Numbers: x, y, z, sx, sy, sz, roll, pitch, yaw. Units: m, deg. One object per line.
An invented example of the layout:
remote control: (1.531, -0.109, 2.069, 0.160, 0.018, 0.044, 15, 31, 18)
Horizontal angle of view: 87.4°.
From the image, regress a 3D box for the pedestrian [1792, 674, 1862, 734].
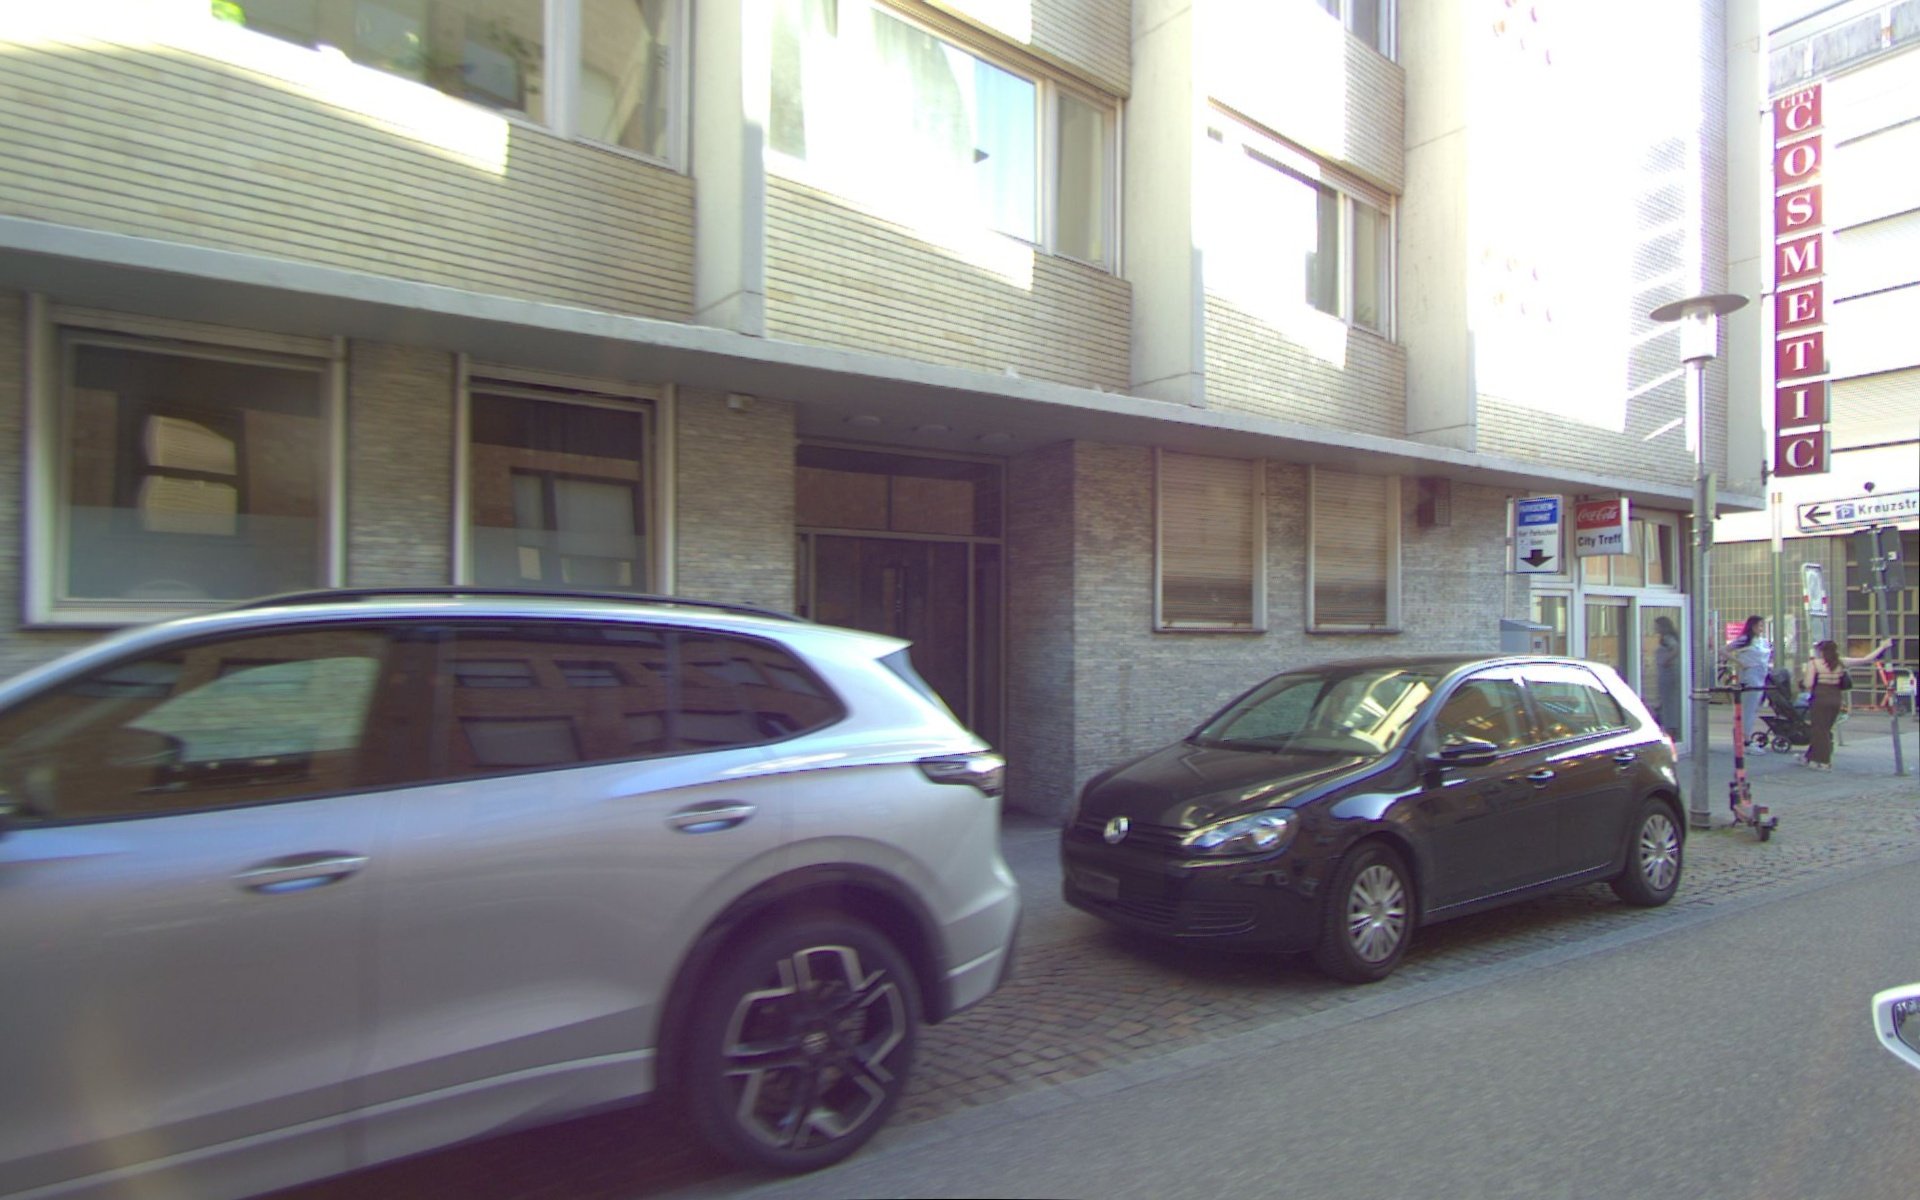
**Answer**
pedestrian: (11.417, 1.360, 13.242, 0.574, 0.724, 0.645, 0, -1, 30)

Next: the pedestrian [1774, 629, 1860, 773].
pedestrian: (10.105, 1.166, 11.854, 0.634, 1.647, 0.457, 0, -1, 19)

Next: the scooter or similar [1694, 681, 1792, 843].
scooter or similar: (6.426, 1.291, 8.286, 0.406, 1.213, 1.119, -5, -5, 31)

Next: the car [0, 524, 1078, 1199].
car: (-1.939, 0.767, 3.023, 4.340, 1.765, 1.881, 1, -2, -31)

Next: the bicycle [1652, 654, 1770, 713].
bicycle: (15.953, 1.750, 21.390, 0.708, 1.173, 1.864, 1, -3, -28)

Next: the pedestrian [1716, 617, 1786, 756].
pedestrian: (10.246, 1.102, 13.018, 0.542, 1.761, 0.448, 0, -1, -7)

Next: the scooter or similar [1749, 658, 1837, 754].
scooter or similar: (11.136, 1.400, 13.452, 0.778, 1.177, 0.634, 2, 0, 31)

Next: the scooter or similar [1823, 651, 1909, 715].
scooter or similar: (17.872, 1.622, 19.834, 0.474, 1.222, 1.152, 1, -3, -29)

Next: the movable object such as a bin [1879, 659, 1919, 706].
movable object such as a bin: (19.441, 1.705, 20.710, 0.526, 0.914, 0.526, 2, 0, 13)

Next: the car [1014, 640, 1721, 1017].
car: (2.410, 0.999, 5.722, 3.952, 1.479, 1.641, 1, -4, -30)
